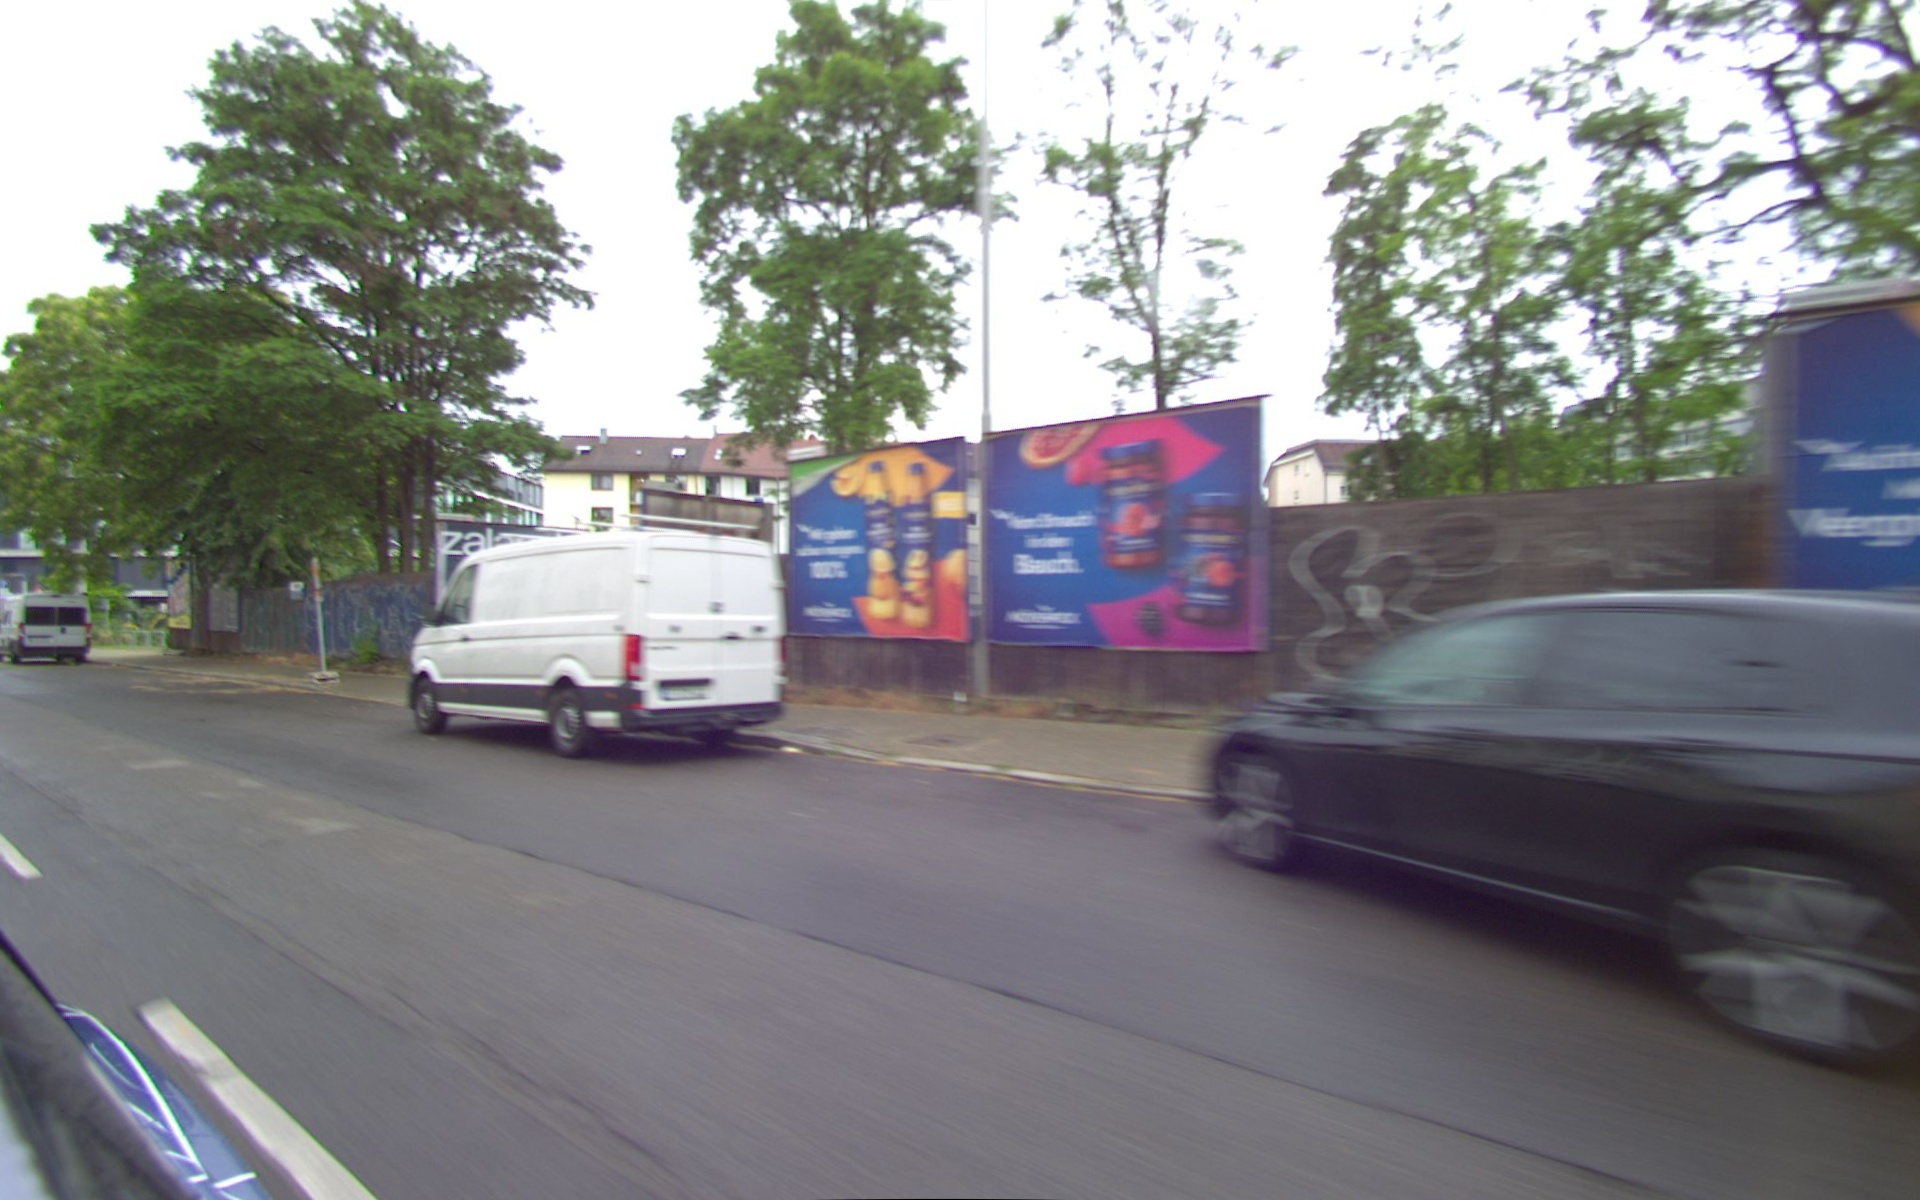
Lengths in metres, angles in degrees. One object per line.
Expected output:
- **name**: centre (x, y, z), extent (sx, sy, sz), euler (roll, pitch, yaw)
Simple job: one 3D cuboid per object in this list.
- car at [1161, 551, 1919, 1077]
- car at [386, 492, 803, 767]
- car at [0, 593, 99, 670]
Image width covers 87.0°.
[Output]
- **car**: centre (2.870, 0.603, 4.505), extent (1.779, 1.426, 4.398), euler (0, -1, -21)
- **car**: centre (-4.558, 0.357, 11.957), extent (5.980, 2.506, 1.991), euler (-2, -2, 41)
- **car**: centre (-34.074, 1.180, 37.447), extent (6.531, 2.598, 2.208), euler (-2, -3, 40)
